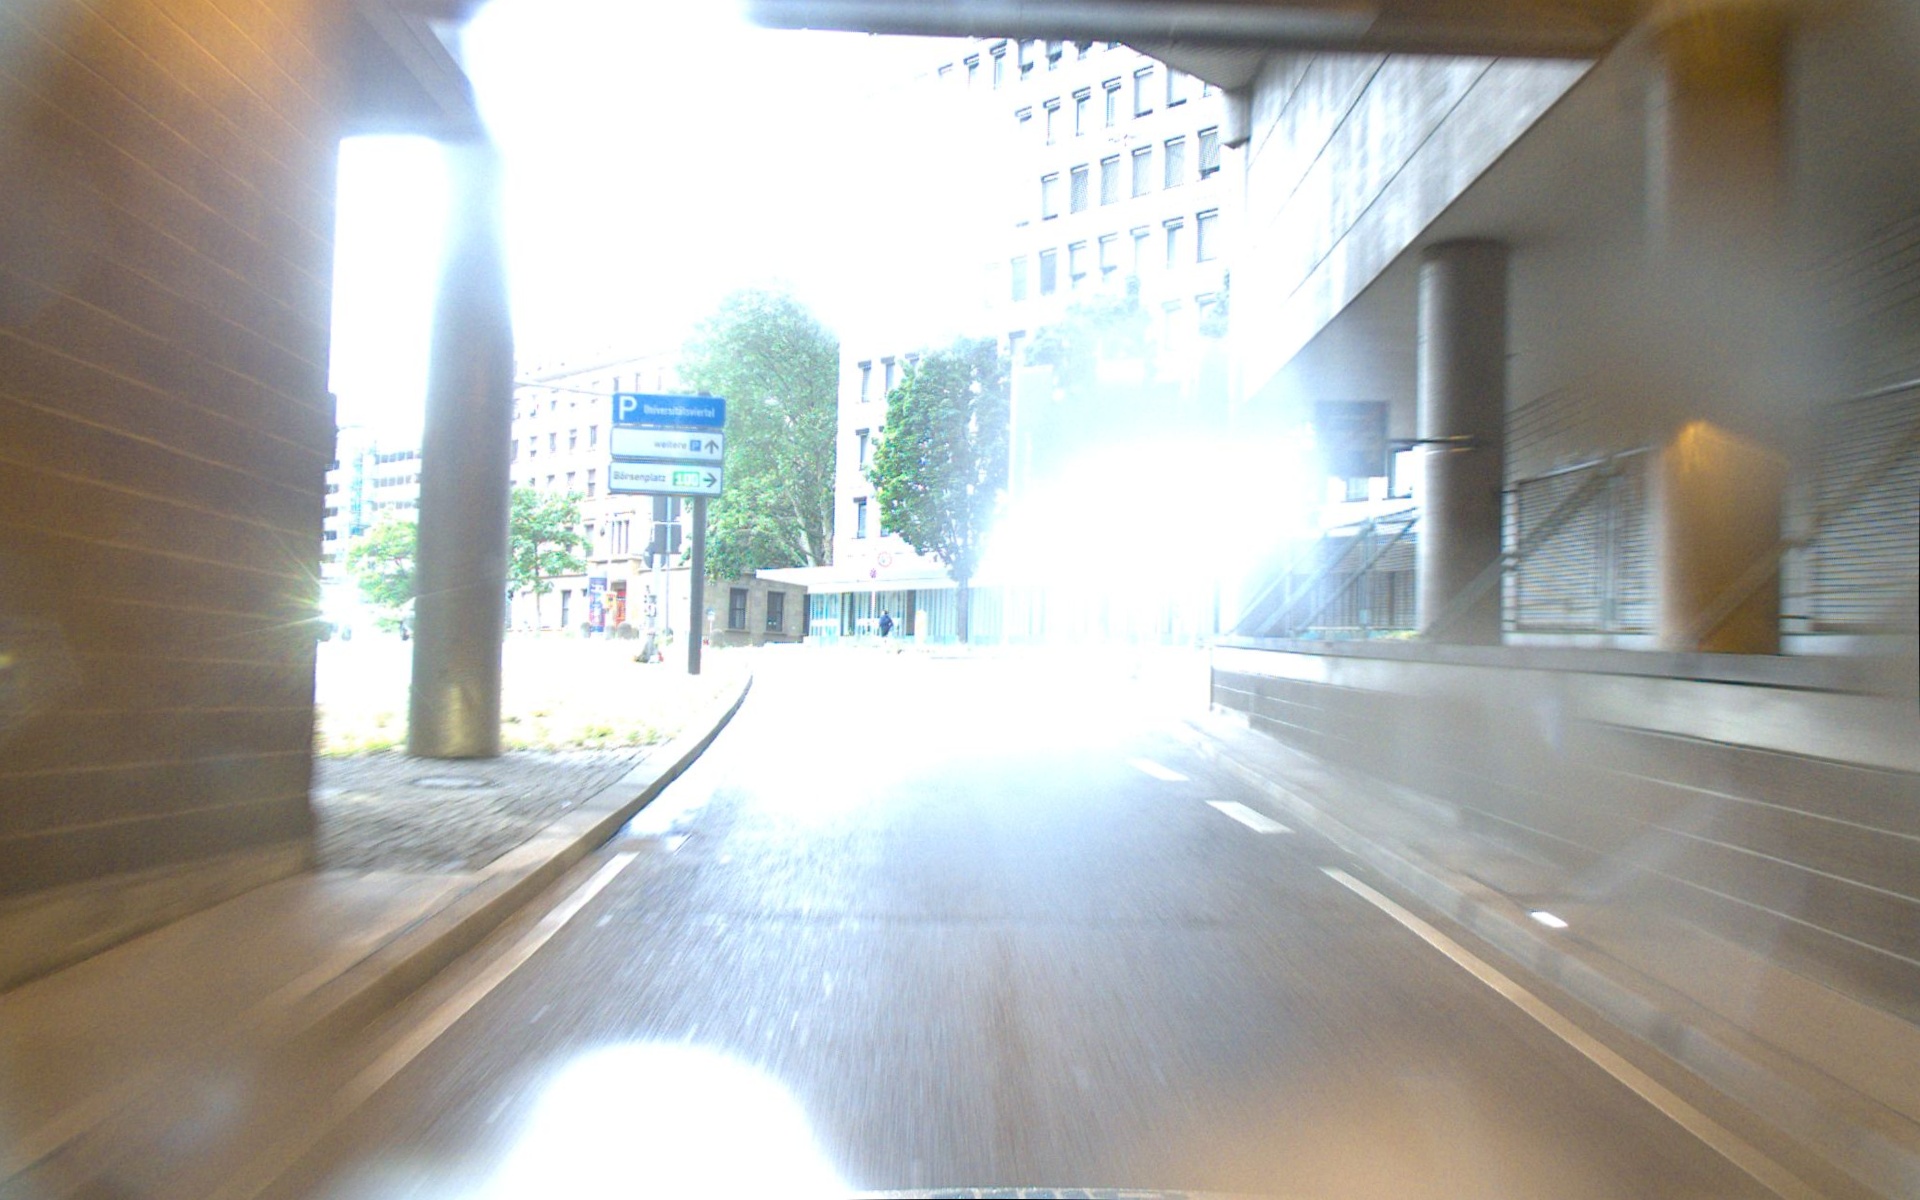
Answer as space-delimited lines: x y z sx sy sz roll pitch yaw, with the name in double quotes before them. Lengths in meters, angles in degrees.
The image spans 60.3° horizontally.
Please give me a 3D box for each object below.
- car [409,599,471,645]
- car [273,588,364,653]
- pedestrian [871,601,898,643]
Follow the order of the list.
"car" -19.518 0.800 61.987 1.820 1.616 4.358 0 0 -23
"car" -20.631 0.616 53.095 1.820 1.955 4.588 0 0 -33
"pedestrian" -3.325 0.960 72.904 0.773 1.803 0.852 4 -3 -35
